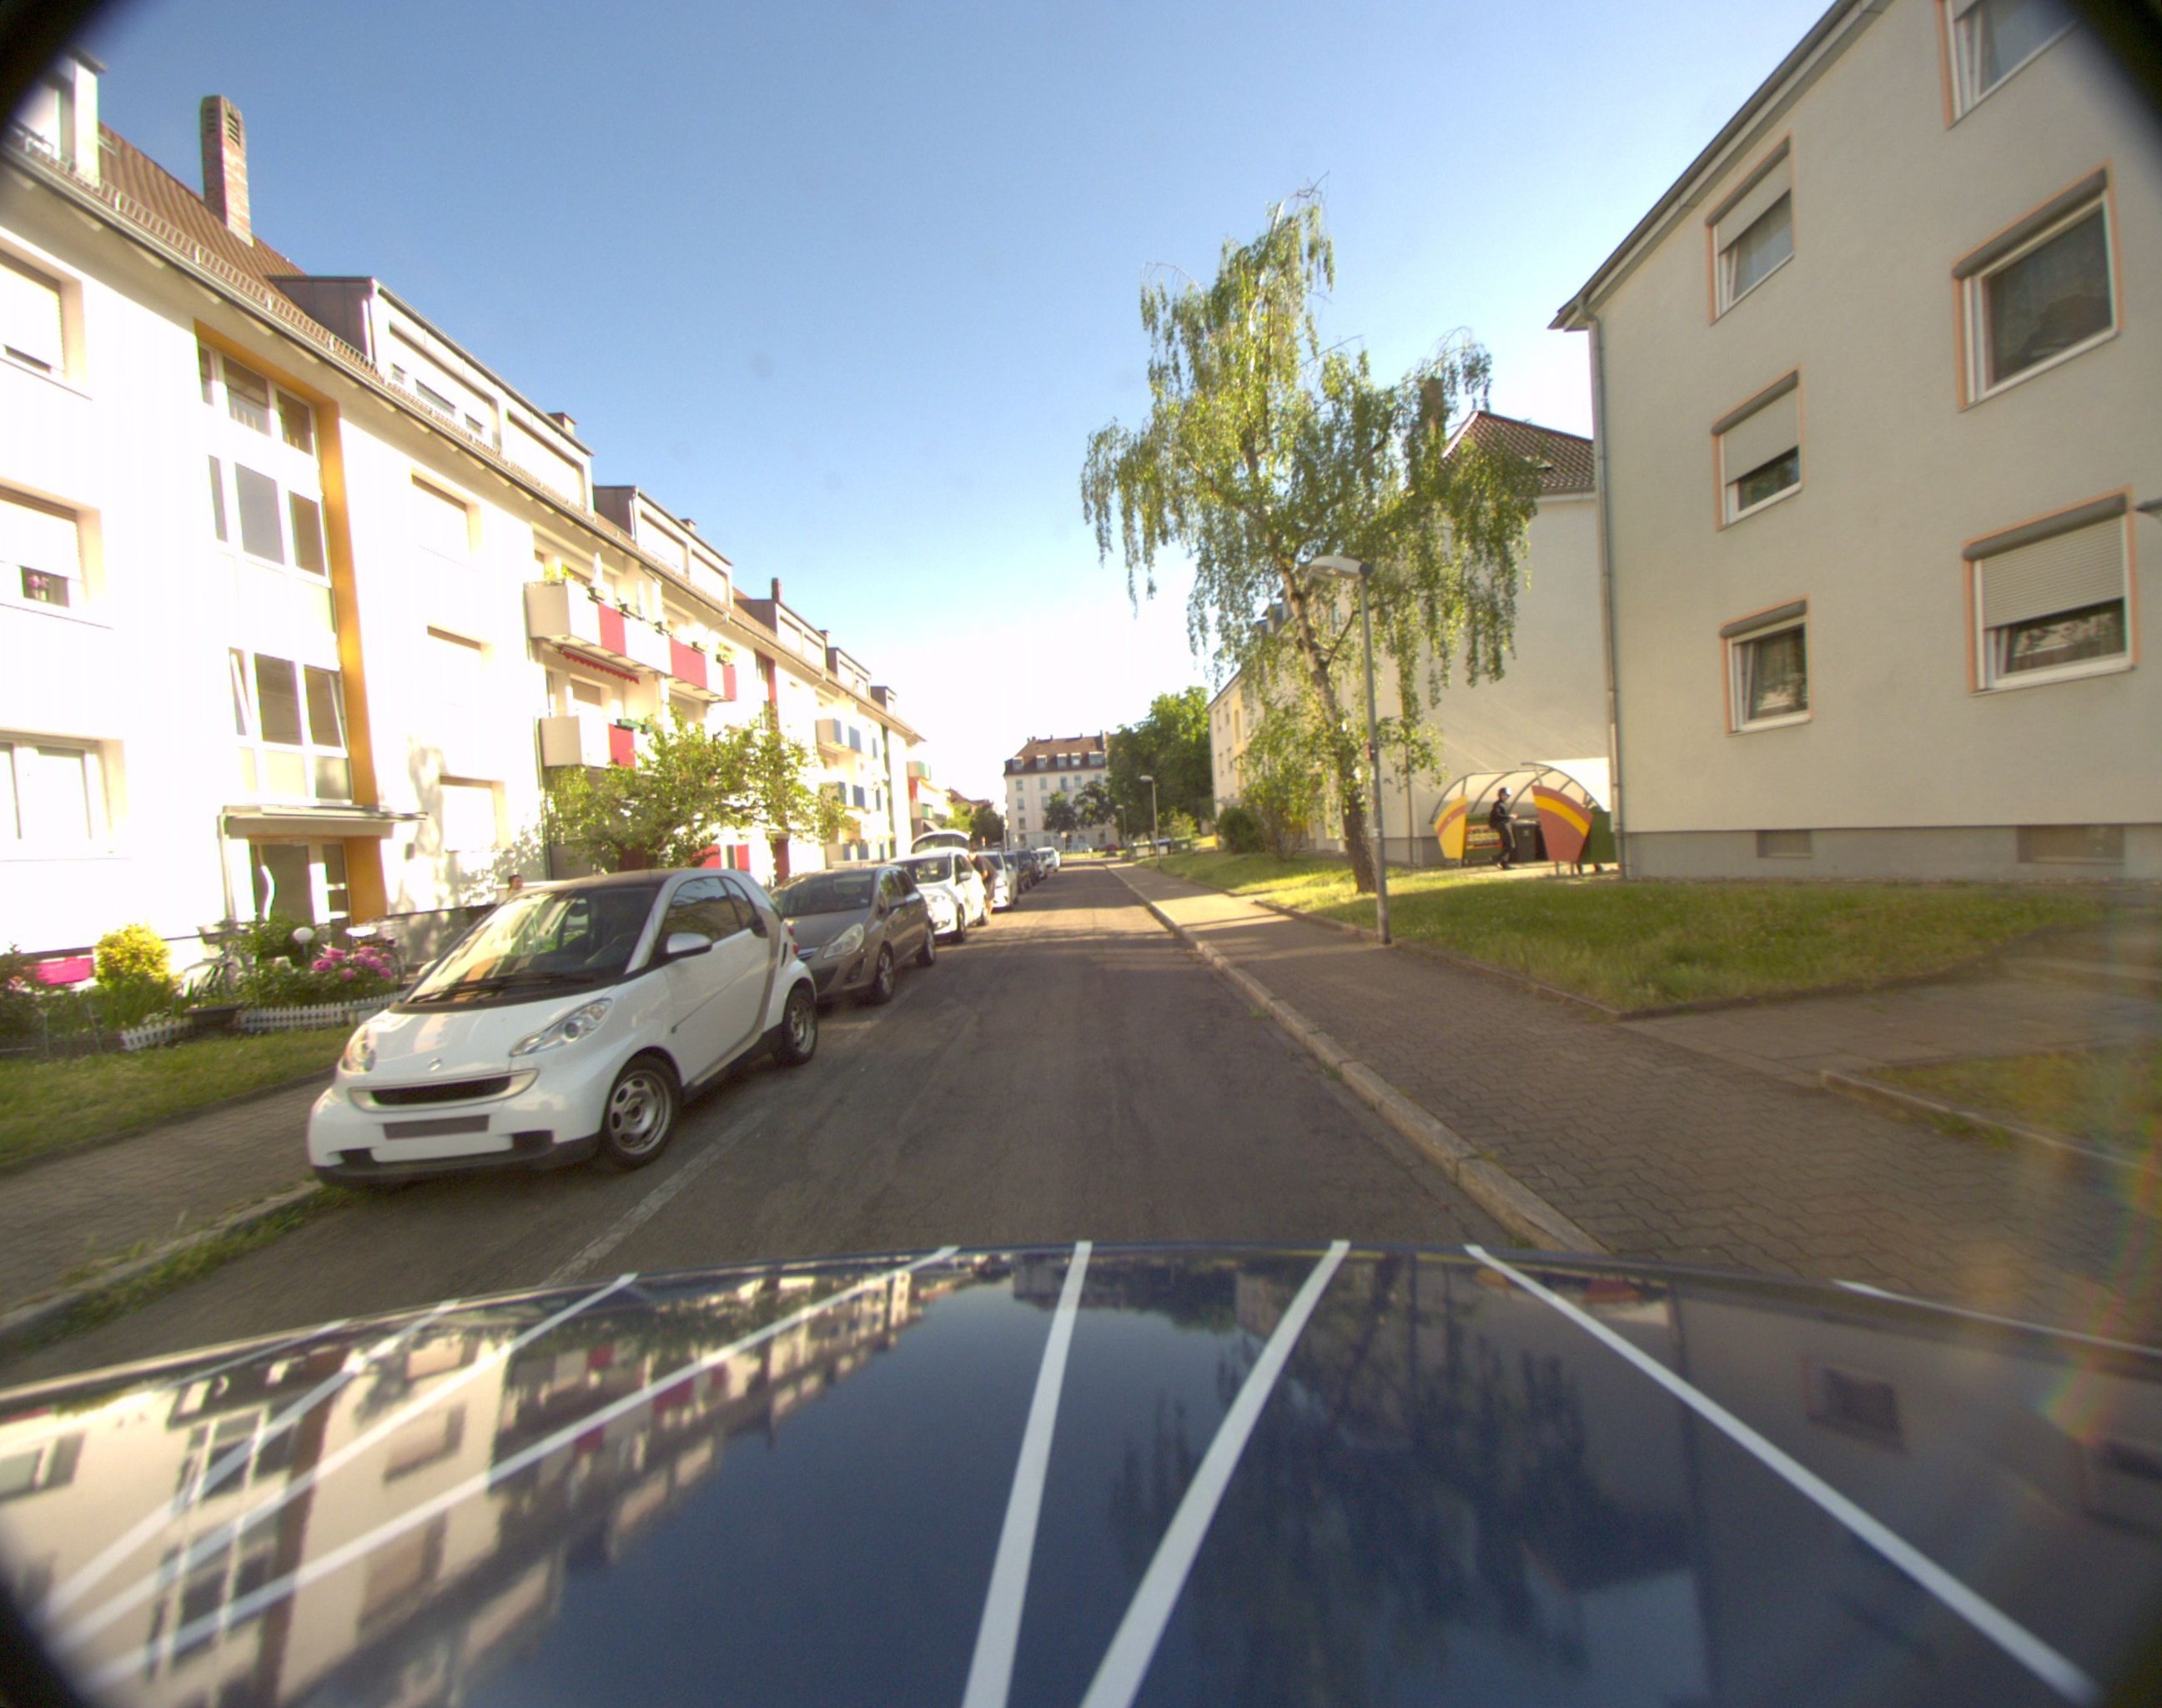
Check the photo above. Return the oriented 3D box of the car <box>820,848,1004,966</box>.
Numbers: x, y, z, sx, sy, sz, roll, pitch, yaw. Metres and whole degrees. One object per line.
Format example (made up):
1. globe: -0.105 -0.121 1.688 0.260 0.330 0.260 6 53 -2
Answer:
1. car: -2.881 0.813 14.284 1.998 1.604 4.995 -5 1 3

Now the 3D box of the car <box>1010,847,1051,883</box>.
1. car: -2.506 0.516 38.453 1.717 1.501 3.852 -6 1 0

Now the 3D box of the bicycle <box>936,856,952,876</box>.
1. bicycle: -7.925 0.677 44.013 0.545 1.114 1.872 -2 1 0

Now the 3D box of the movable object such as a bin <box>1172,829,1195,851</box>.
1. movable object such as a bin: 7.712 -1.039 57.198 1.363 1.445 1.072 -8 2 1

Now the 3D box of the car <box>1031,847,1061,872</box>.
1. car: -2.264 0.316 50.517 1.695 1.410 4.096 -6 1 0

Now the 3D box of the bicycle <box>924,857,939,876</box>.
1. bicycle: -8.642 0.707 43.991 0.539 1.076 1.872 -1 1 0

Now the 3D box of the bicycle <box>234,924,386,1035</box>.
1. bicycle: -9.106 1.445 9.041 0.404 1.080 1.299 -2 1 1

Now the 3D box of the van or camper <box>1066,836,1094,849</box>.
1. van or camper: -0.129 -1.812 122.773 4.355 1.852 1.999 -3 1 -2

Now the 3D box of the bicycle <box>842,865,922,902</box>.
1. bicycle: -6.821 0.991 26.125 2.429 1.123 0.879 -3 1 6

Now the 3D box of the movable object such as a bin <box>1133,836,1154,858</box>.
1. movable object such as a bin: 4.668 -0.514 57.136 1.318 1.451 1.198 -7 2 1

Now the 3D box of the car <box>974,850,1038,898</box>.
1. car: -2.739 0.693 28.505 1.650 1.441 4.060 -5 1 3

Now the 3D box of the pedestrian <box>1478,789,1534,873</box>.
1. pedestrian: 9.630 -0.518 17.247 0.808 1.813 0.718 -3 2 1

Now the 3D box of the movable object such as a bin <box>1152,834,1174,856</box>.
1. movable object such as a bin: 6.156 -0.655 57.193 1.358 1.451 1.082 -8 2 1

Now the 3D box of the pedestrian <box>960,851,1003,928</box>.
1. pedestrian: -2.111 0.727 16.242 0.741 1.566 0.879 -2 1 0

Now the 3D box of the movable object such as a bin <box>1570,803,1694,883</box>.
1. movable object such as a bin: 10.481 -0.213 14.514 1.391 1.328 1.228 -5 1 0

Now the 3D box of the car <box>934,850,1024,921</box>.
1. car: -2.586 0.731 20.284 1.777 1.496 4.479 -5 1 -1

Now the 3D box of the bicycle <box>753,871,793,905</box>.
1. bicycle: -10.796 1.174 26.723 0.521 1.031 1.974 -2 1 1

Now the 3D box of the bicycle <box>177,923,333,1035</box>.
1. bicycle: -10.006 1.478 9.267 0.404 1.126 1.273 -3 1 1

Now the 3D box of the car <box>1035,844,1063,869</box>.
1. car: -2.298 0.165 55.827 1.805 1.583 4.580 -5 1 0

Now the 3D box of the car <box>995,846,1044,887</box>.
1. car: -2.623 0.477 33.148 1.728 1.569 4.351 -3 1 0

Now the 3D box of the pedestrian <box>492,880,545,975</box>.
1. pedestrian: -9.100 1.180 12.293 0.451 1.487 0.360 -3 3 1

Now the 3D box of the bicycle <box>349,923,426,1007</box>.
1. bicycle: -9.072 1.447 9.950 0.742 1.041 0.238 -2 2 3

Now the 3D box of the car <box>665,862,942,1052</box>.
1. car: -2.904 0.970 8.963 1.698 1.482 3.983 -5 1 0

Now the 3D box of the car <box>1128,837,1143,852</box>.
1. car: 6.459 -1.155 90.163 1.678 1.645 3.304 -3 1 4

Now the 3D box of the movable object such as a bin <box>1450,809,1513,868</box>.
1. movable object such as a bin: 10.133 -0.385 19.238 1.087 1.398 0.812 -4 1 1

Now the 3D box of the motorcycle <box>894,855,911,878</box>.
1. motorcycle: -10.370 0.698 44.238 0.442 1.231 1.976 -2 1 0

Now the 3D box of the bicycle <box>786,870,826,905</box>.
1. bicycle: -9.585 1.146 26.585 0.521 1.043 2.287 -1 1 1

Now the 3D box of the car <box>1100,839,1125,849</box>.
1. car: 5.048 -1.653 122.421 3.996 1.477 1.721 -3 1 2

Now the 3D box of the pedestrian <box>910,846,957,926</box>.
1. pedestrian: -3.185 0.672 16.463 0.821 1.678 0.604 -2 1 0

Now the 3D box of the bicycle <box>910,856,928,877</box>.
1. bicycle: -9.370 0.711 44.054 0.598 1.109 1.872 -3 1 0

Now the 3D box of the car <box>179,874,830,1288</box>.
1. car: -2.949 1.025 4.694 1.483 1.520 2.941 -6 1 5
